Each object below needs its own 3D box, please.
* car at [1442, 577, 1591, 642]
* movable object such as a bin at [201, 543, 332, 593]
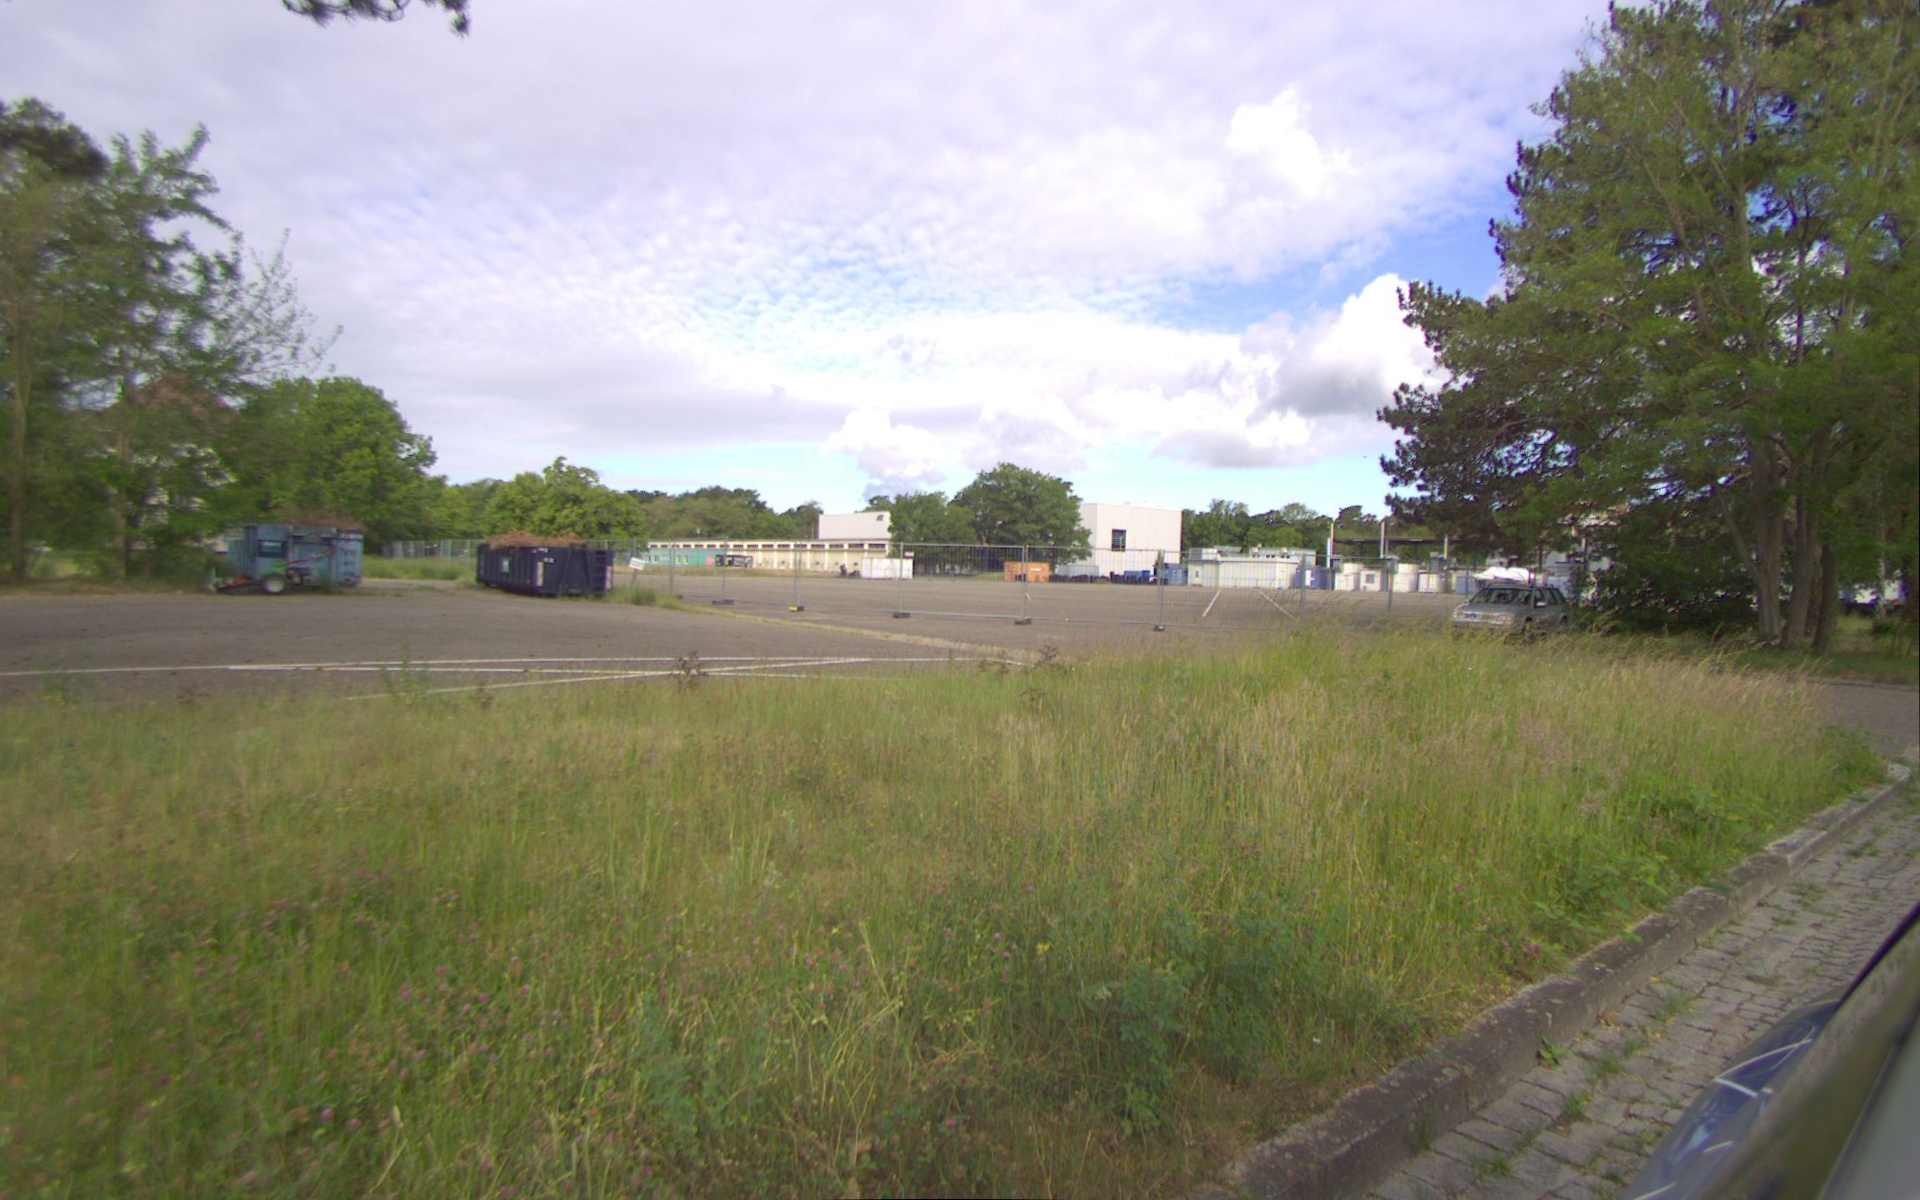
[{"bbox_3d":[14.015,0.209,25.410,4.249,1.466,1.760,0,2,-39],"label":"car"},{"bbox_3d":[-16.752,-0.762,24.481,2.498,1.097,1.064,2,1,-41],"label":"movable object such as a bin"}]
